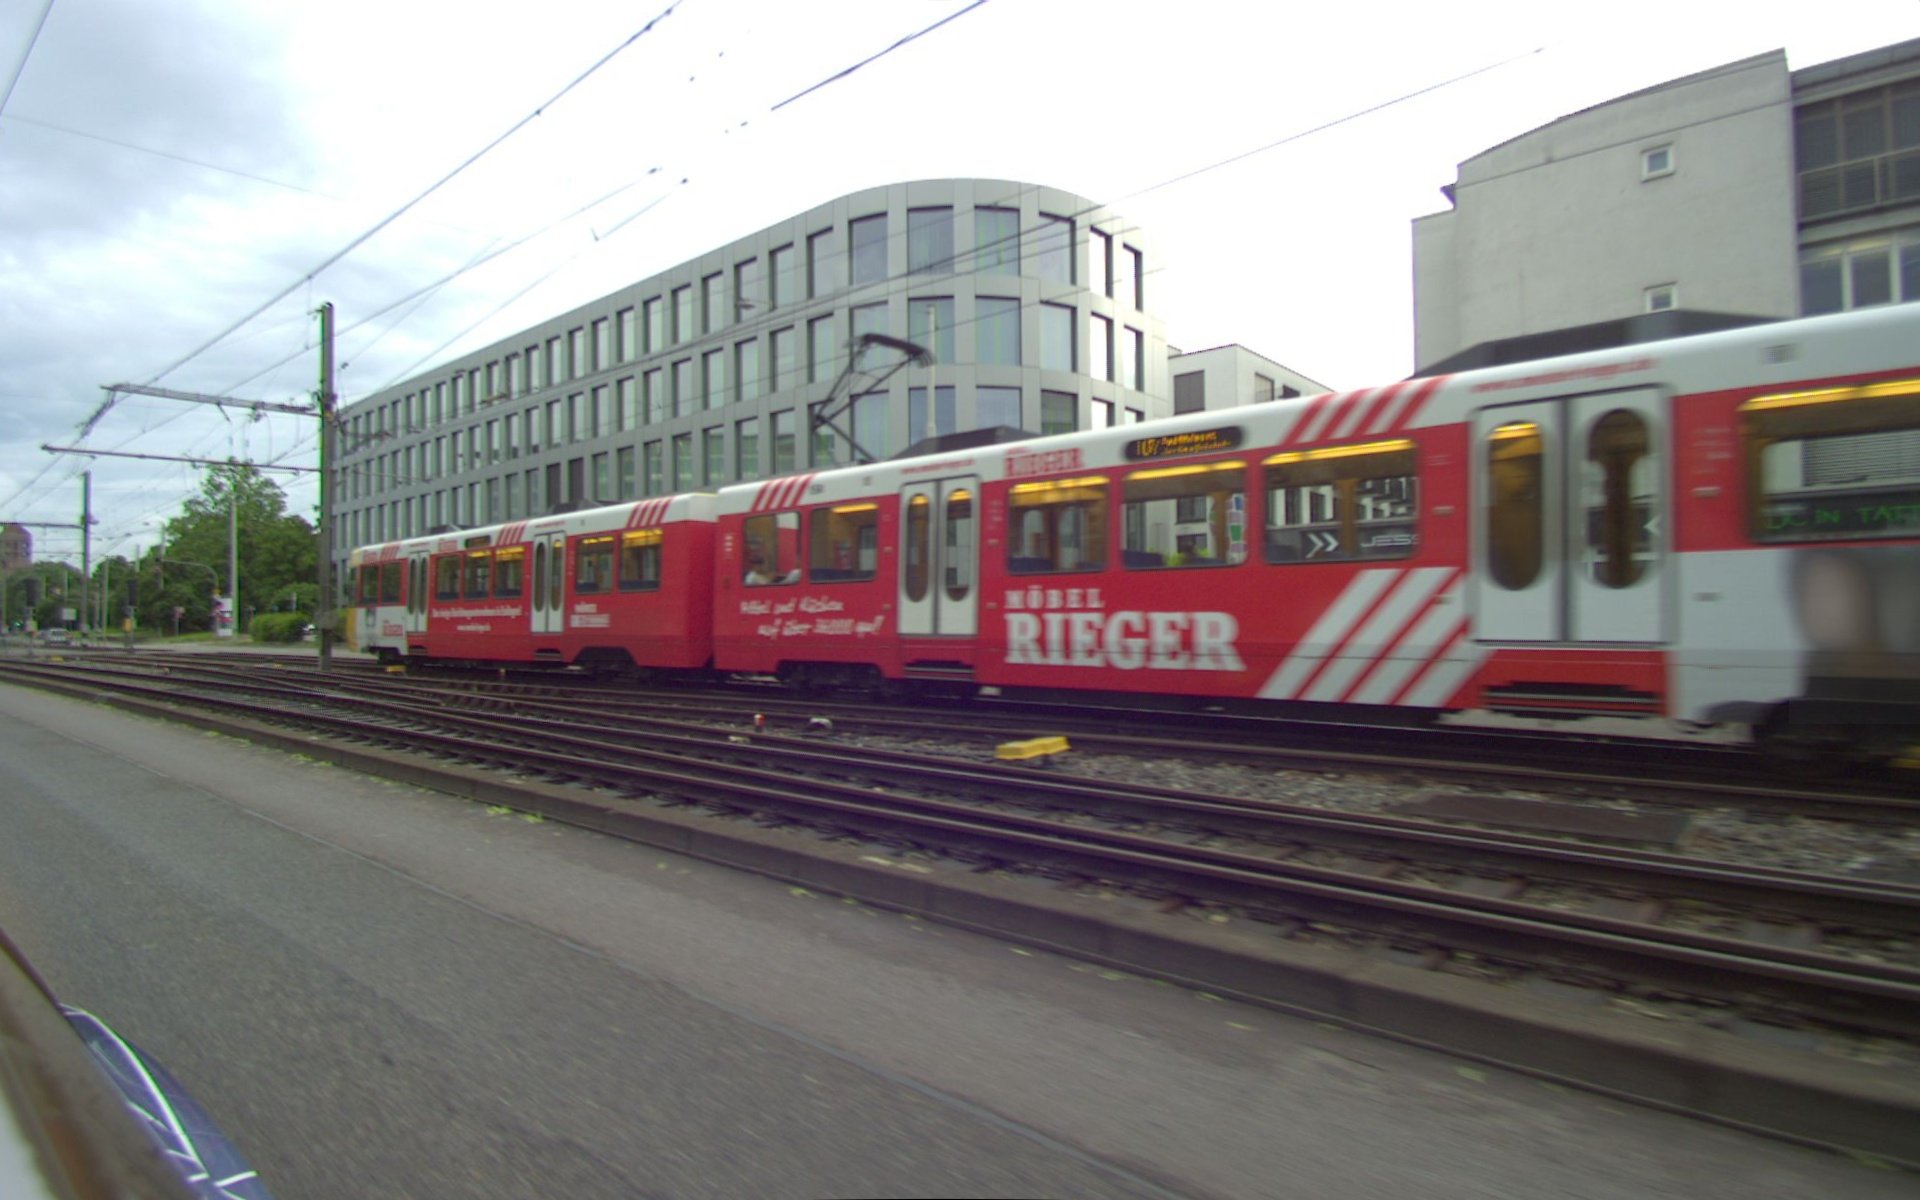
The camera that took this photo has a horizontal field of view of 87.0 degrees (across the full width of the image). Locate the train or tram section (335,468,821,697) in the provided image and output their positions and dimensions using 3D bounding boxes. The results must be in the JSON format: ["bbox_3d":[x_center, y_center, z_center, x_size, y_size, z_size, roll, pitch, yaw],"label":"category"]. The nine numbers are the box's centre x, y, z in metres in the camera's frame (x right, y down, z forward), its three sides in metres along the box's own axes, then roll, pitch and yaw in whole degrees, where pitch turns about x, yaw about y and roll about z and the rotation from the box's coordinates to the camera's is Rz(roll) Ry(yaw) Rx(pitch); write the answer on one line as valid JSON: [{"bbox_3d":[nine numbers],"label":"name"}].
[{"bbox_3d":[-10.473,-0.077,24.422,18.611,3.840,2.935,-2,-1,43],"label":"train or tram section"}]

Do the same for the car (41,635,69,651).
[{"bbox_3d":[-96.780,4.606,108.222,3.562,1.649,1.788,-2,-1,41],"label":"car"}]

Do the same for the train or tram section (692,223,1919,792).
[{"bbox_3d":[3.370,-0.493,11.688,18.611,3.840,2.935,-2,-1,43],"label":"train or tram section"}]

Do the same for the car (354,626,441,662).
[{"bbox_3d":[-25.410,1.945,45.637,4.921,1.462,1.886,-1,-1,41],"label":"car"}]
